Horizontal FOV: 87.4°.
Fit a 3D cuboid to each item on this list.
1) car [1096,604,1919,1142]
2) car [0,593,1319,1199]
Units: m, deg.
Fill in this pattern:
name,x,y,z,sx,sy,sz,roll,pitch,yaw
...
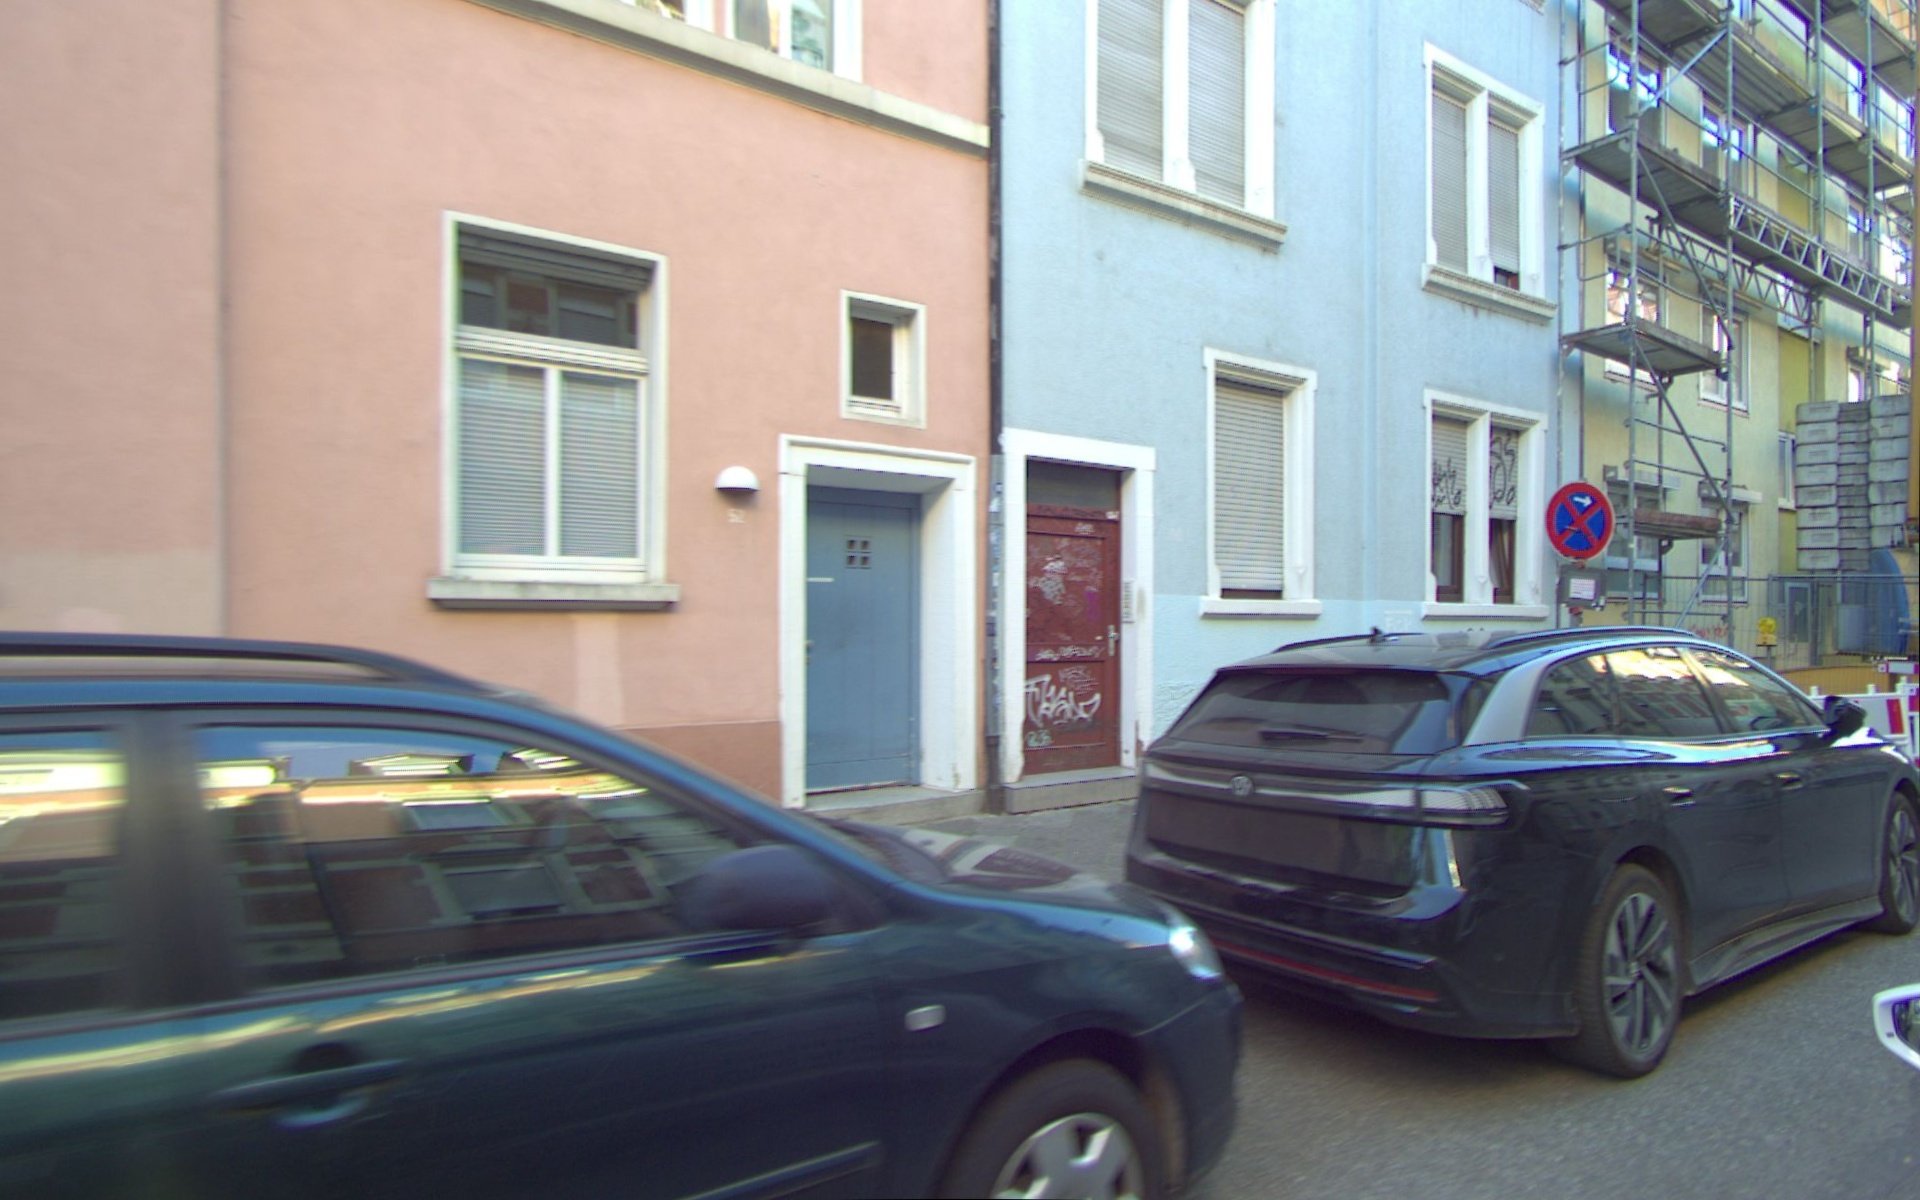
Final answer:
name,x,y,z,sx,sy,sz,roll,pitch,yaw
car,2.918,0.810,4.777,4.559,1.496,1.665,1,-2,-34
car,-1.380,0.783,1.972,4.368,1.531,1.665,1,-2,-34
